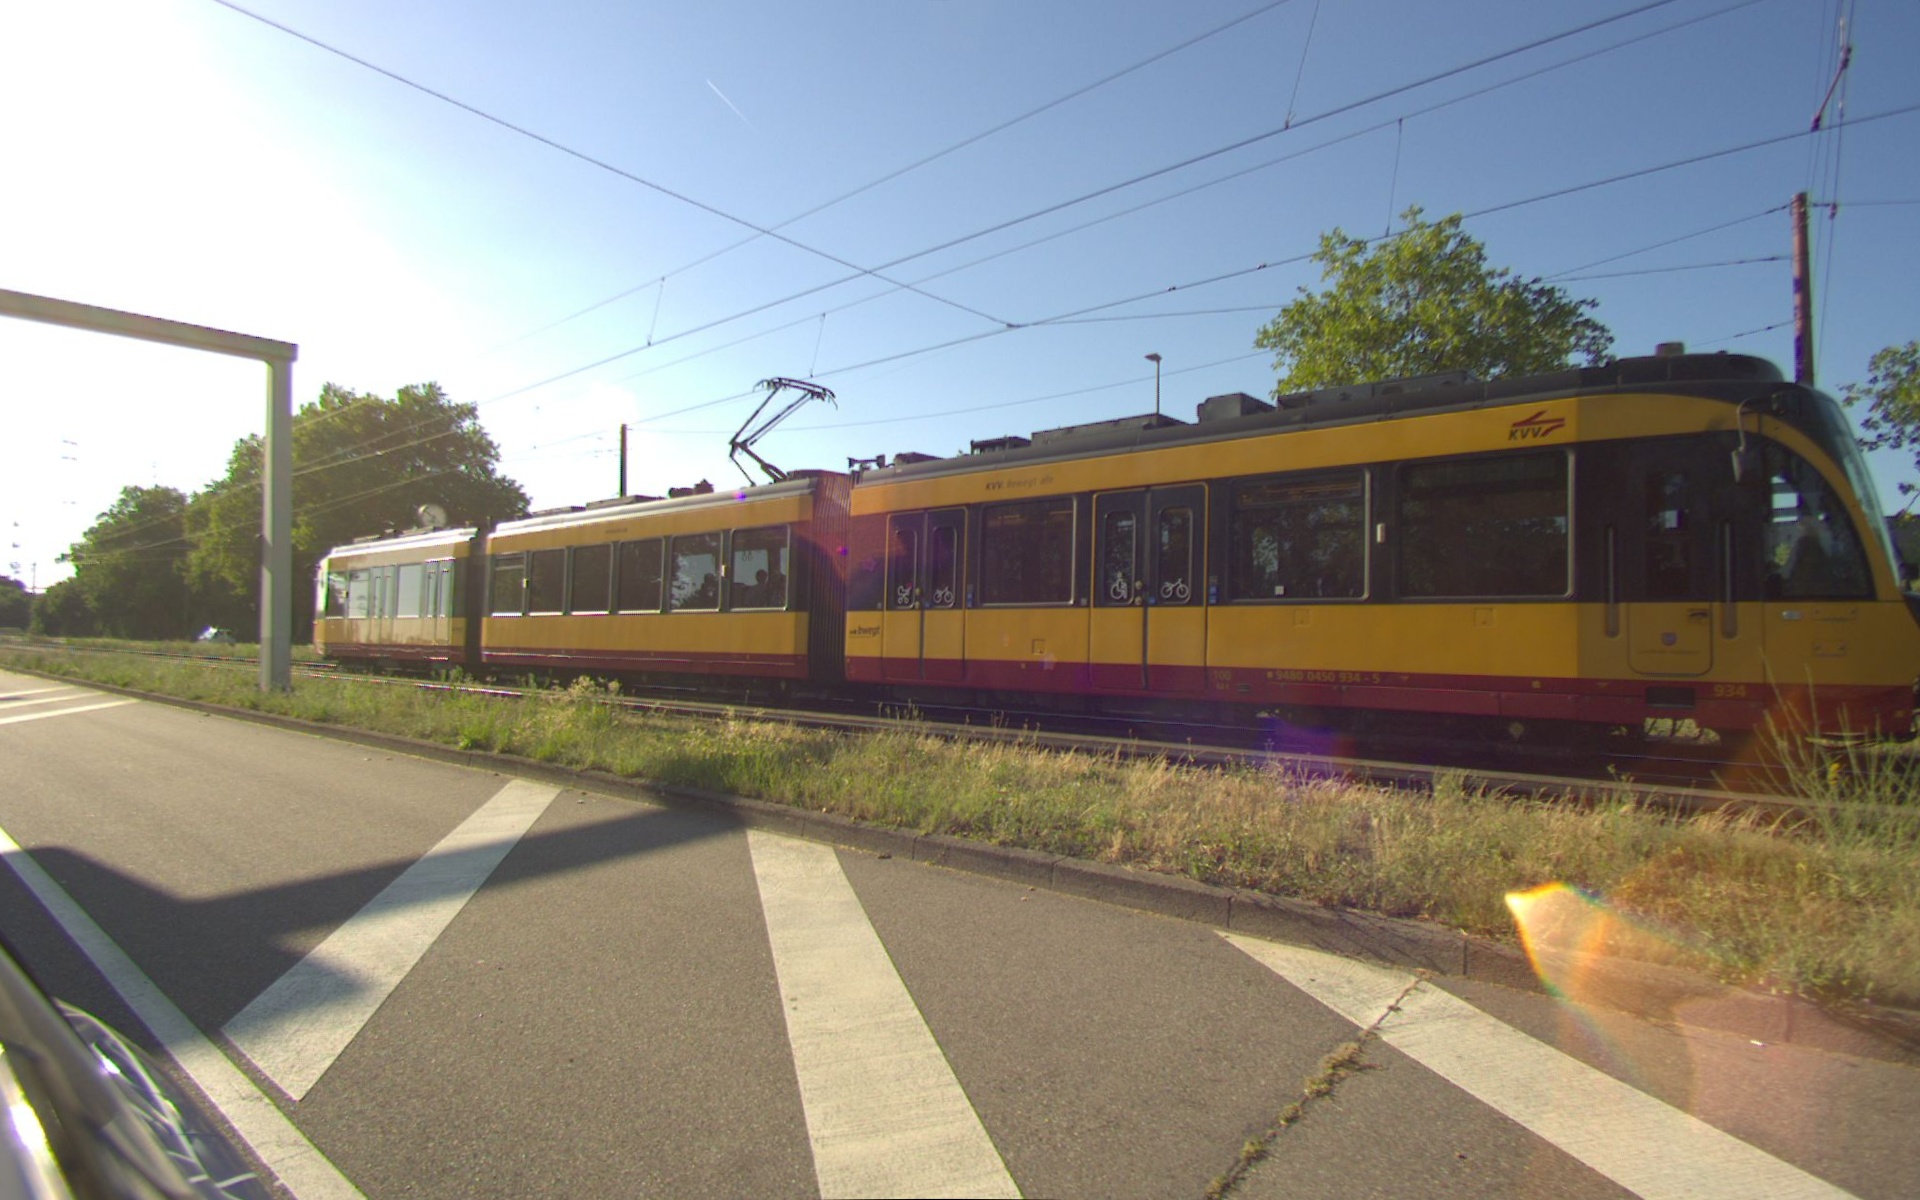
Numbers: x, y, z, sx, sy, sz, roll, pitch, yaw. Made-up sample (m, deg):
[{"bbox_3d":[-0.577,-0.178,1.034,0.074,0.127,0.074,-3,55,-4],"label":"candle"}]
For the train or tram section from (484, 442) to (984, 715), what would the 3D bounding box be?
[{"bbox_3d":[-5.068,-0.194,19.508,11.982,3.932,2.775,-1,-1,40],"label":"train or tram section"}]

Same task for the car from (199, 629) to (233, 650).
[{"bbox_3d":[-59.318,3.134,80.696,1.633,1.537,4.277,4,-2,-43],"label":"car"}]

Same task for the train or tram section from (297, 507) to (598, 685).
[{"bbox_3d":[-14.329,0.029,27.438,12.323,3.932,2.775,-1,-1,40],"label":"train or tram section"}]

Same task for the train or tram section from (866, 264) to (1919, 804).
[{"bbox_3d":[4.047,-0.382,11.702,11.804,3.932,2.775,-1,-1,40],"label":"train or tram section"}]
